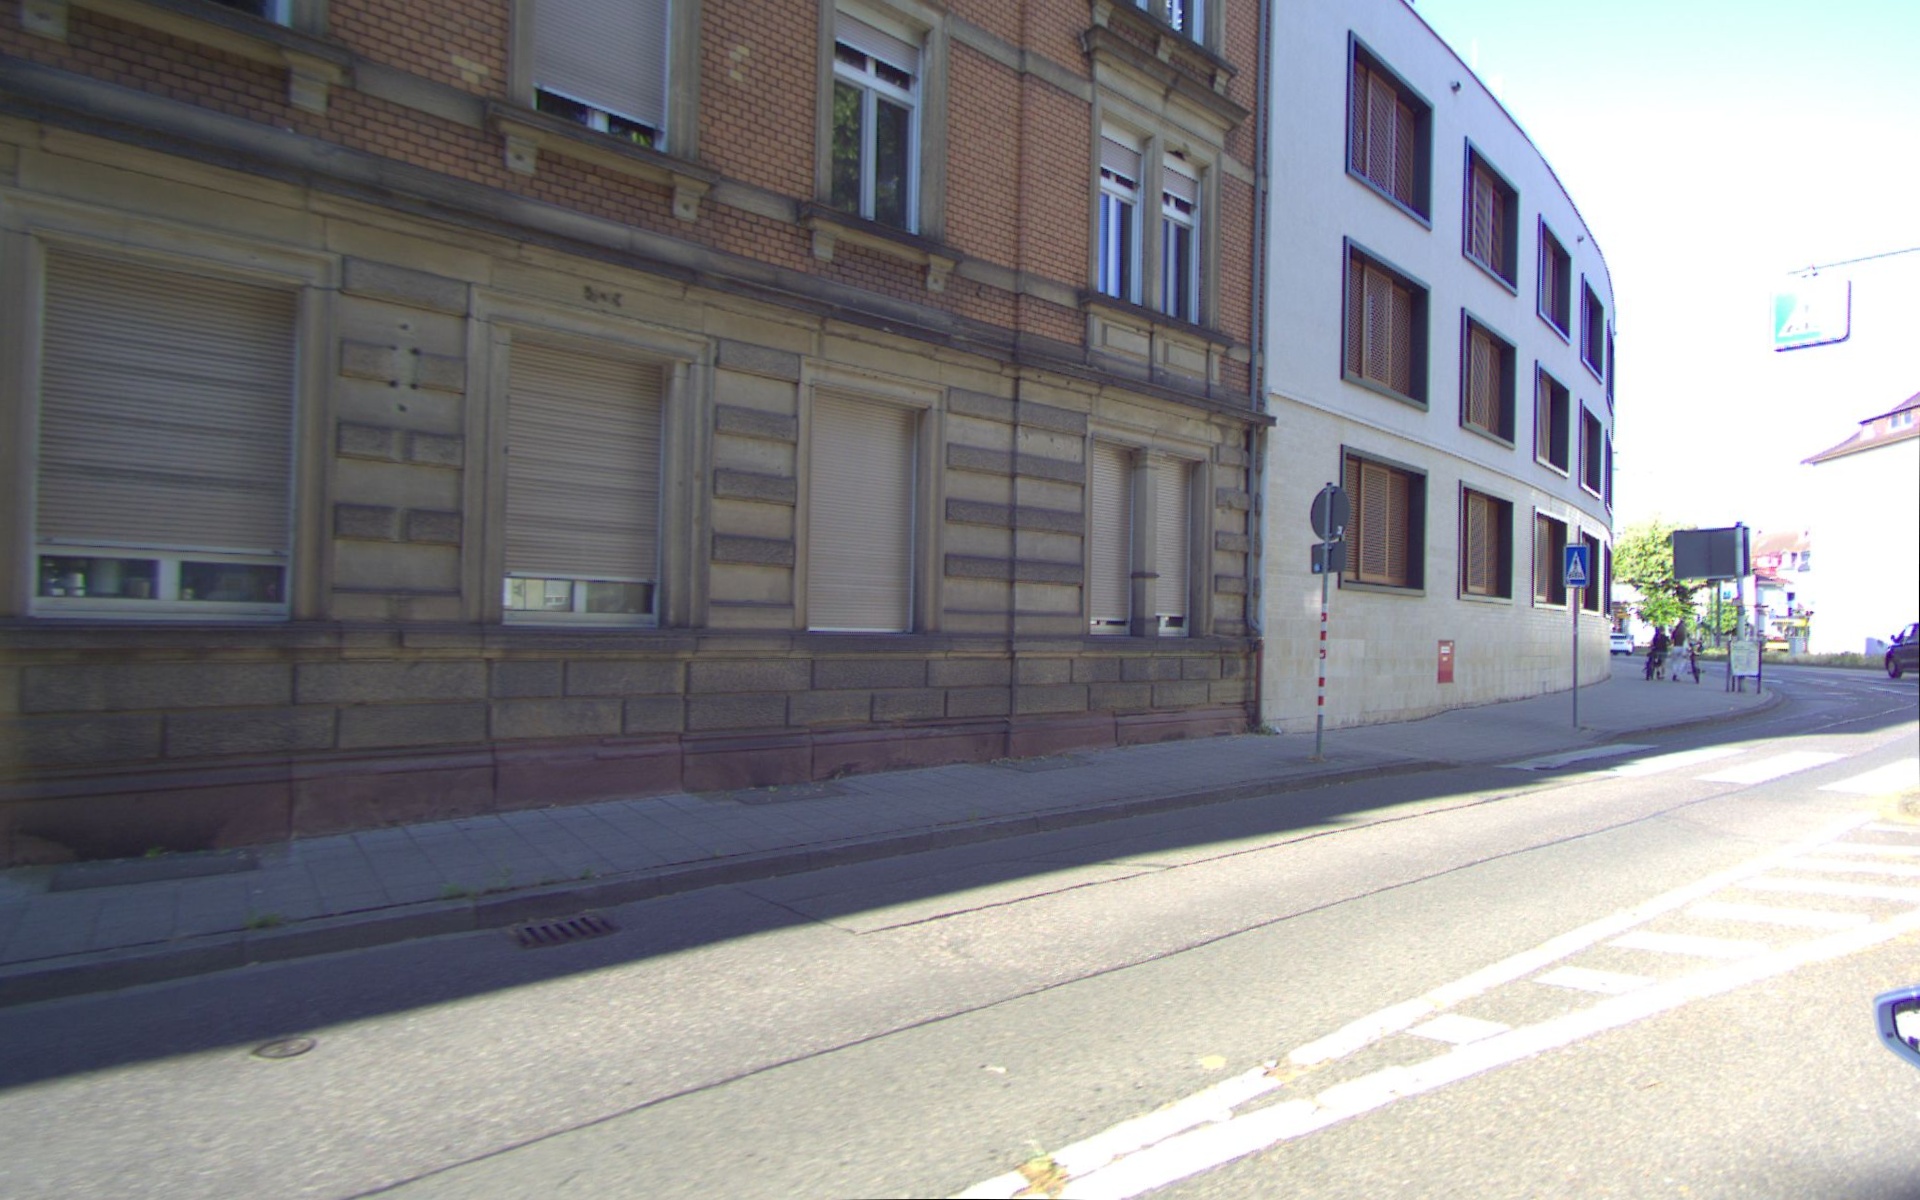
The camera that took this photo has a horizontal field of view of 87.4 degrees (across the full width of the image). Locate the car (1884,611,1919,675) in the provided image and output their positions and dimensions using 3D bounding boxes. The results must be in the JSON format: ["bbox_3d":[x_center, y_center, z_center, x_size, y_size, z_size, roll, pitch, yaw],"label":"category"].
[{"bbox_3d":[32.073,1.422,32.721,1.964,2.040,3.994,1,-1,29],"label":"car"}]

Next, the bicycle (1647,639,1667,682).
[{"bbox_3d":[20.388,1.740,29.378,0.371,1.183,1.831,4,1,36],"label":"bicycle"}]

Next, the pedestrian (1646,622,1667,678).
[{"bbox_3d":[20.328,1.452,29.324,0.467,1.585,0.600,-1,-2,35],"label":"pedestrian"}]

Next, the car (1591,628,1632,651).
[{"bbox_3d":[44.165,2.682,68.154,1.929,1.525,3.681,-1,-2,27],"label":"car"}]

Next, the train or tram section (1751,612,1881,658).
[{"bbox_3d":[71.177,2.890,83.529,9.744,3.602,2.779,1,-1,-11],"label":"train or tram section"}]

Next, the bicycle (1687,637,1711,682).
[{"bbox_3d":[21.024,1.685,28.591,0.434,1.194,1.961,1,0,34],"label":"bicycle"}]

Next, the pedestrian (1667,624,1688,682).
[{"bbox_3d":[20.725,1.526,29.023,0.467,1.669,0.600,-1,-2,35],"label":"pedestrian"}]
